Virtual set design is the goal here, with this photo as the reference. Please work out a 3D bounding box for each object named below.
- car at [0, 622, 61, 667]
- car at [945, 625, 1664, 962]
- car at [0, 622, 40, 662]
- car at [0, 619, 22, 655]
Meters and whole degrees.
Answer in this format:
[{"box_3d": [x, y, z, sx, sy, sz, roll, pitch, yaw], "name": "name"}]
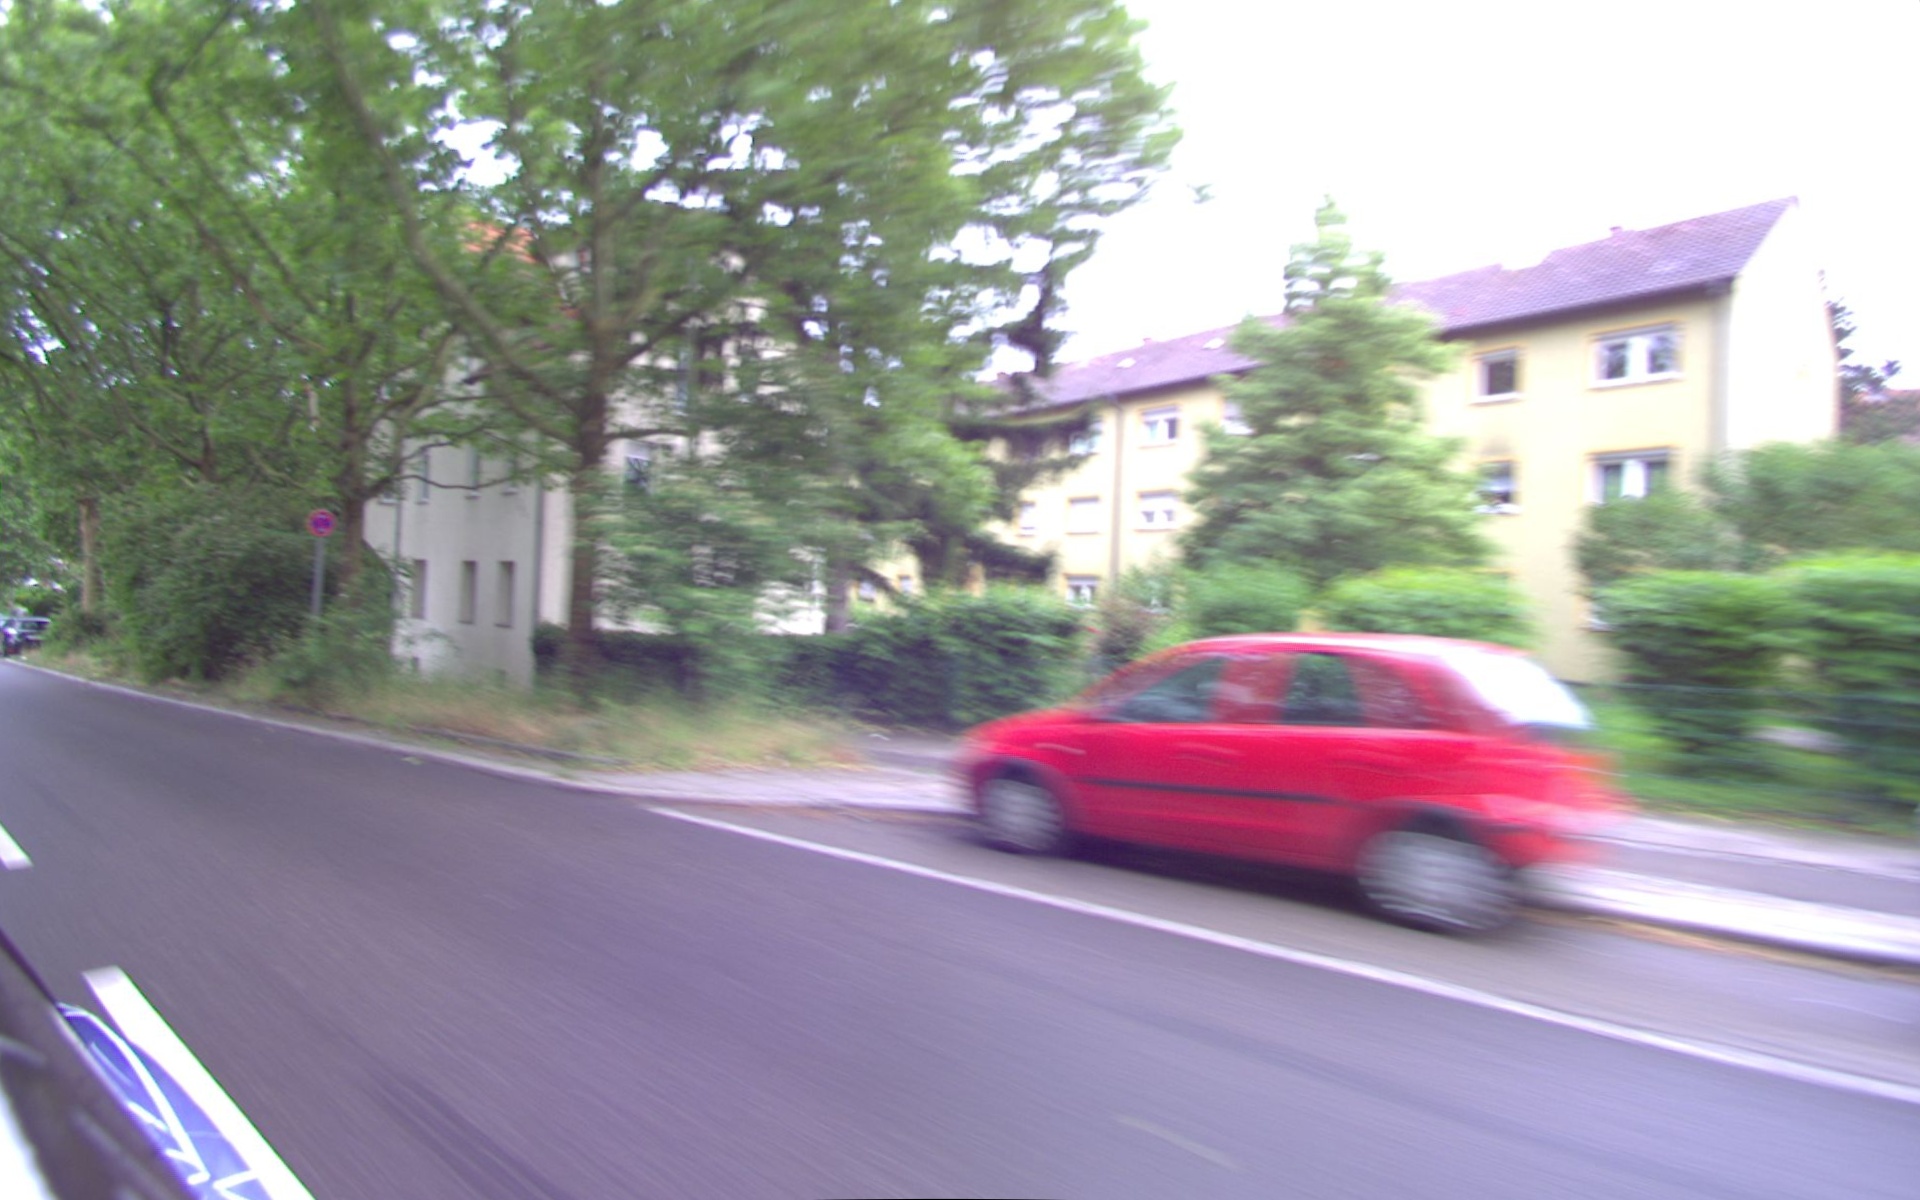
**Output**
[{"box_3d": [-35.305, 1.645, 38.051, 4.016, 1.549, 1.630, -1, -5, 41], "name": "car"}, {"box_3d": [1.851, 0.851, 6.056, 3.755, 1.384, 1.622, -1, -2, 40], "name": "car"}, {"box_3d": [-39.055, 1.664, 41.347, 3.873, 1.519, 1.654, -1, -5, 42], "name": "car"}, {"box_3d": [-43.390, 1.638, 45.376, 4.123, 1.519, 1.654, -1, 0, 43], "name": "car"}]
